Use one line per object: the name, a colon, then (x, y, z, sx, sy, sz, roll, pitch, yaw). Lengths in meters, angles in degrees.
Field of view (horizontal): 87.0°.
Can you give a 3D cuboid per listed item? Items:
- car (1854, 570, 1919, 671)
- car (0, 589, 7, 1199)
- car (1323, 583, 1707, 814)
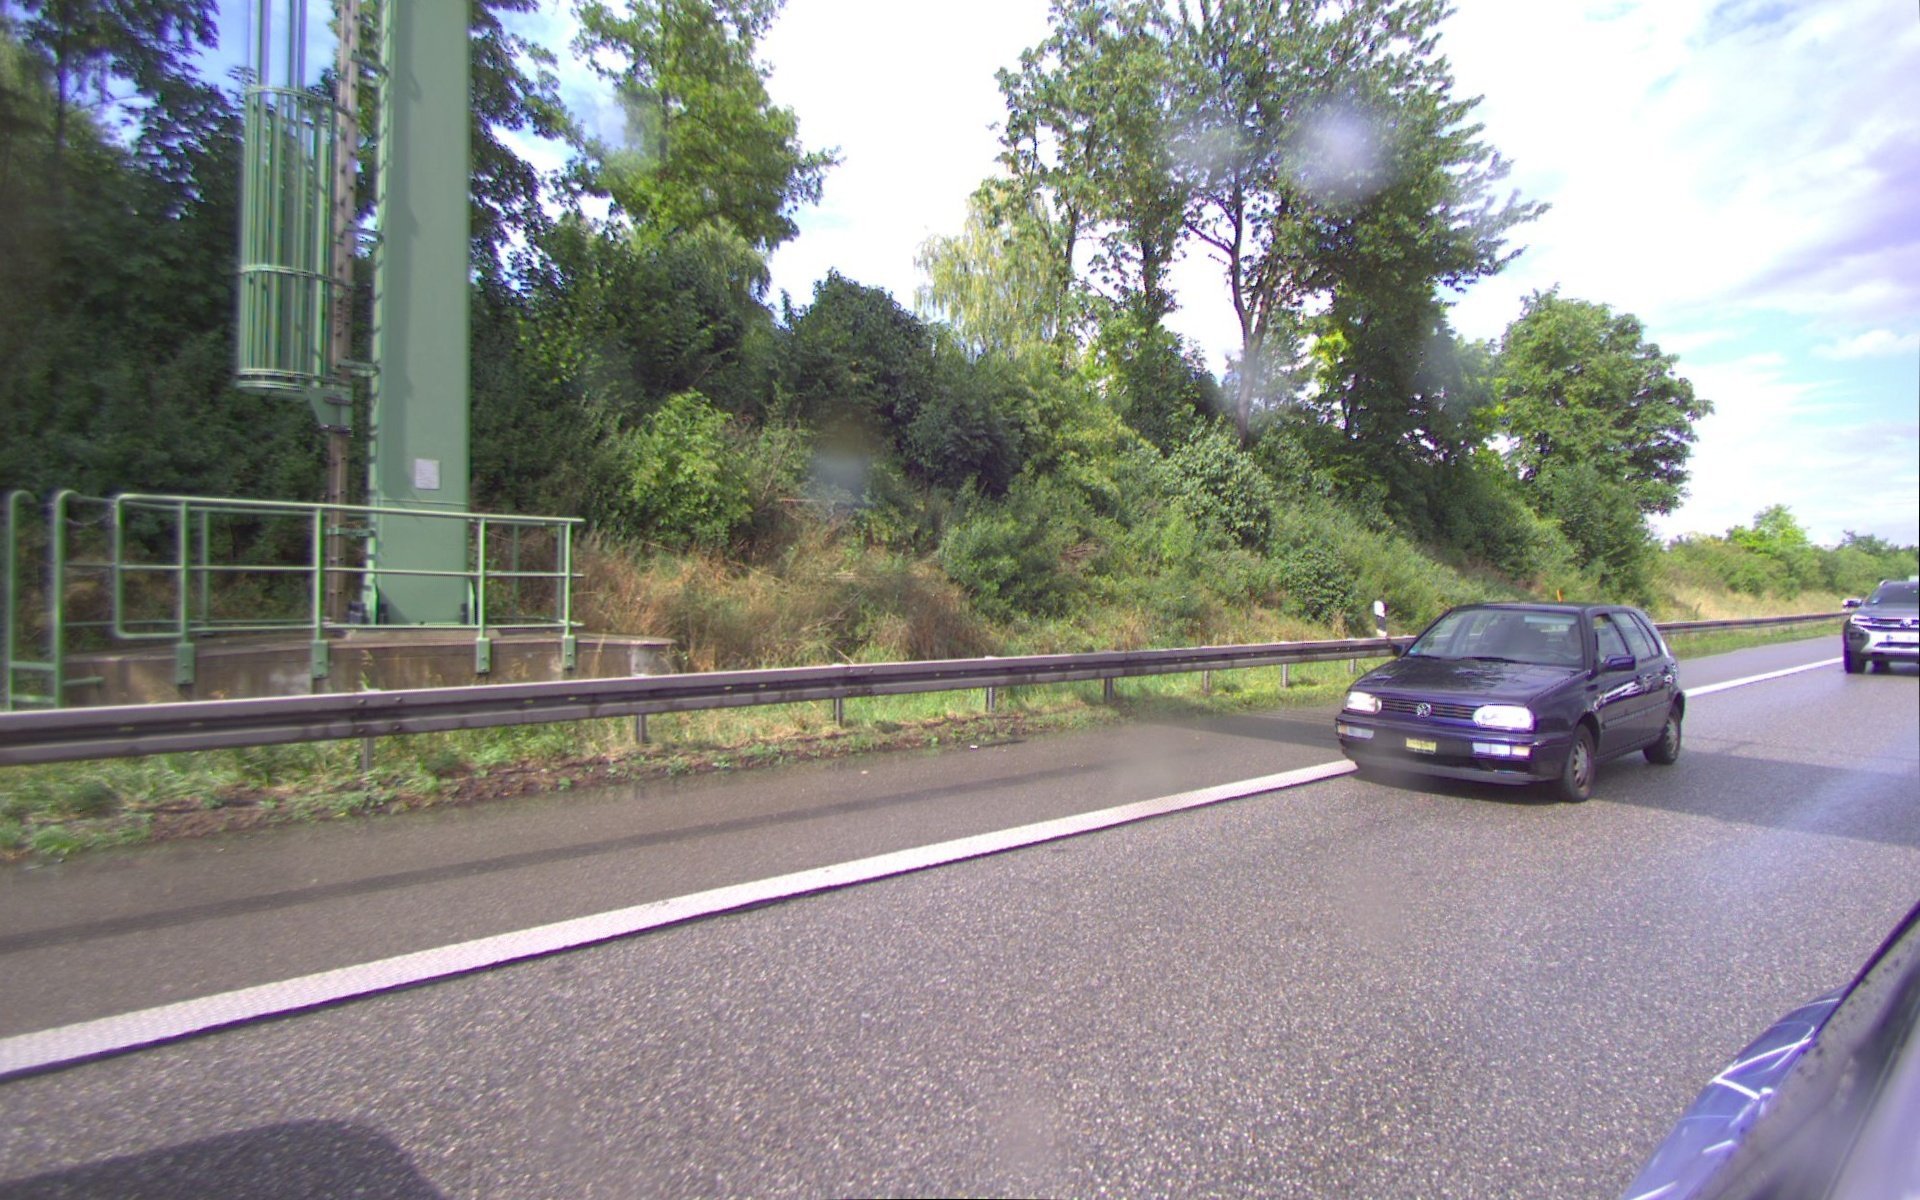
car: (19.352, 0.349, 19.994, 5.212, 1.826, 1.830, 0, 1, -41)
car: (-3.274, 0.710, 0.272, 4.291, 1.414, 1.758, -1, 1, -41)
car: (4.698, 0.608, 8.355, 3.680, 1.474, 1.653, -1, 1, -42)
